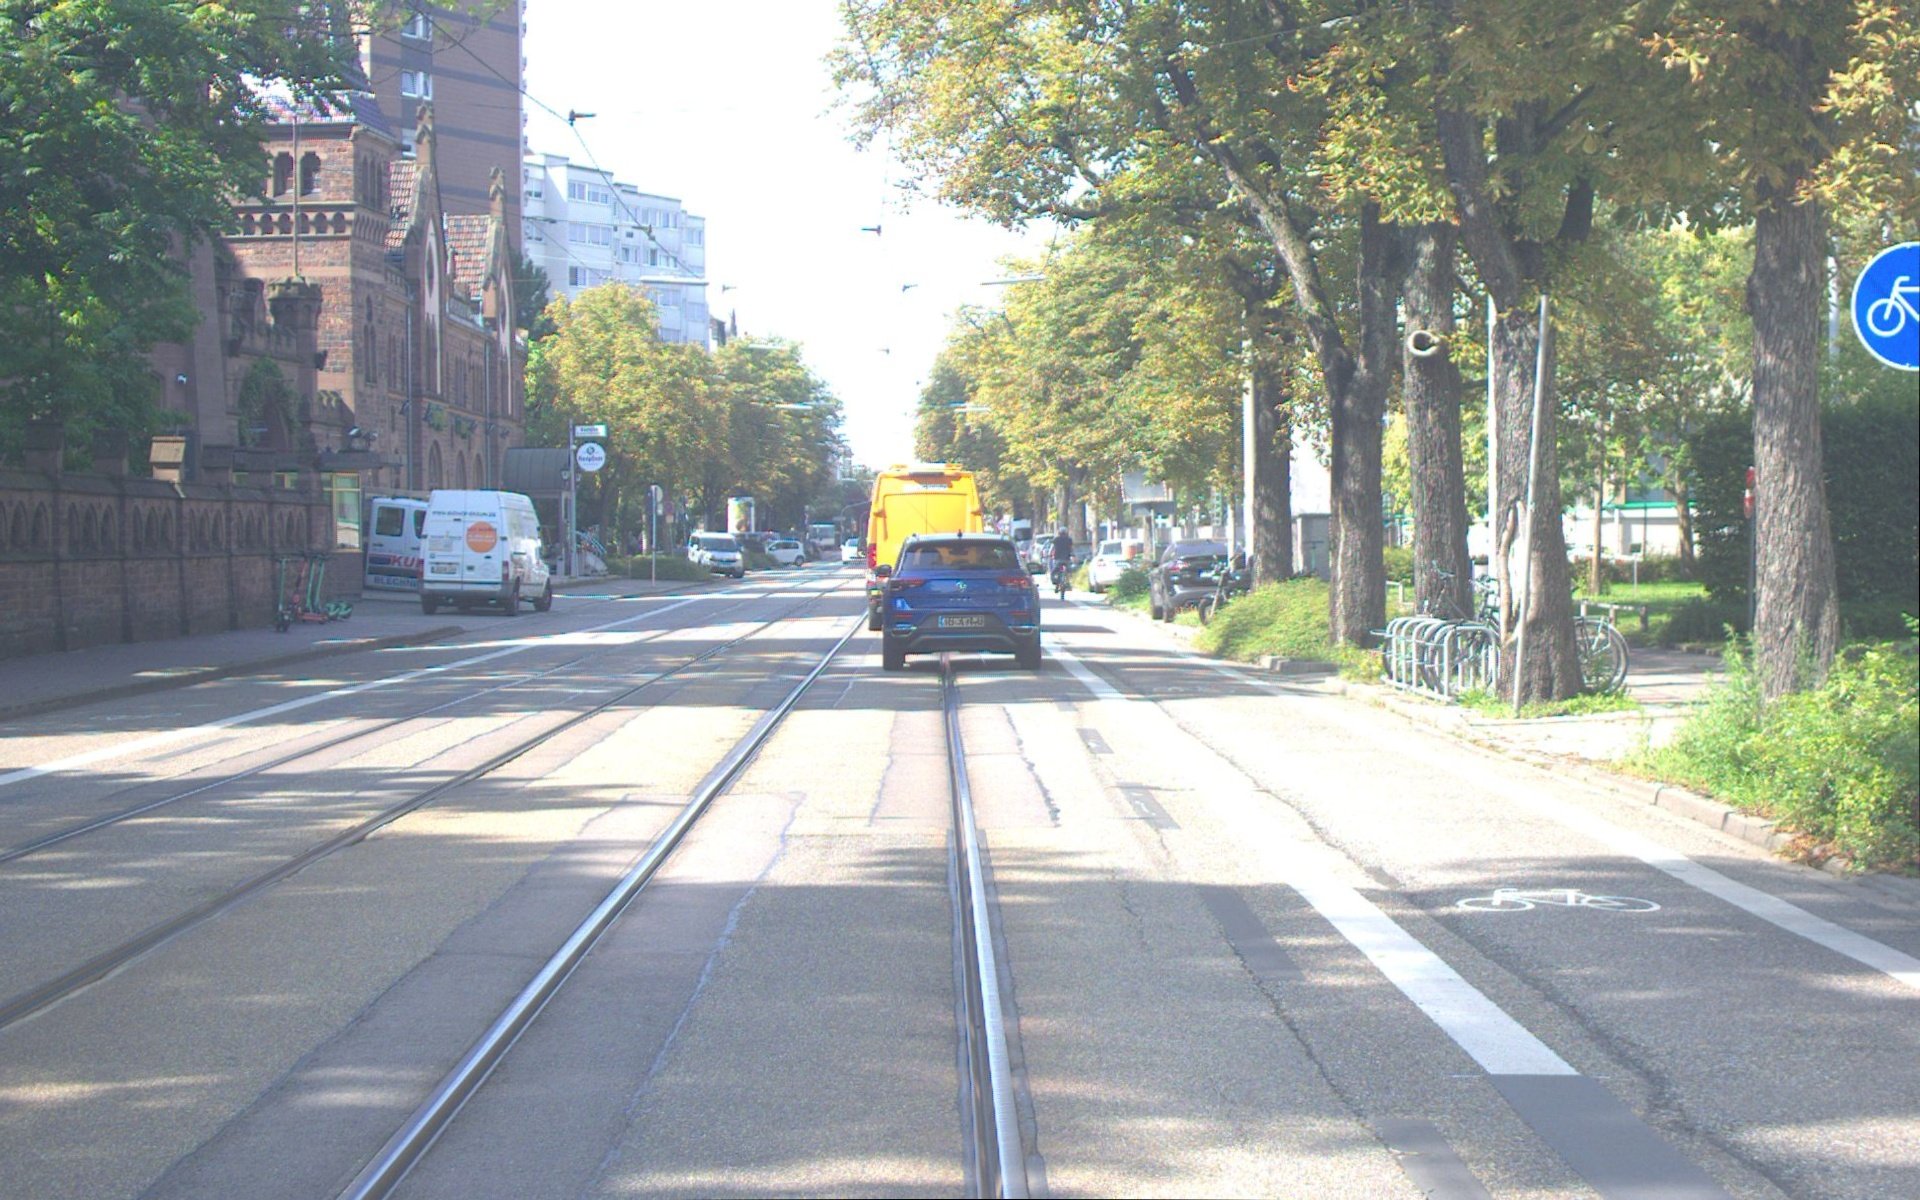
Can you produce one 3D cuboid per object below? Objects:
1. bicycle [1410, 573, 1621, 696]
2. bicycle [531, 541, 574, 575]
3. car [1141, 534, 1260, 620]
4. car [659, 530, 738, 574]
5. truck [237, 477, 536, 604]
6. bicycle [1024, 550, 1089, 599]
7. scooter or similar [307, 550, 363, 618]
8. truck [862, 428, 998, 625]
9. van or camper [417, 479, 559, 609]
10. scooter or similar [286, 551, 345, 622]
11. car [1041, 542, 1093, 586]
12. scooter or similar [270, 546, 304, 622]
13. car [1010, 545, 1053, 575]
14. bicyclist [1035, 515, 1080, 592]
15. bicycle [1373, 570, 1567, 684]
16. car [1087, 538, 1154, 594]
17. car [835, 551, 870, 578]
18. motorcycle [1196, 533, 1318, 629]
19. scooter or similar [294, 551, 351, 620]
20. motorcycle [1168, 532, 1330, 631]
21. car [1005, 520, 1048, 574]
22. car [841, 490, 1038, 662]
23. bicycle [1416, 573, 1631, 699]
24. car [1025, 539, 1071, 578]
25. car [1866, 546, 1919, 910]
[{"bbox_3d":[4.949,0.301,30.688,1.771,1.046,0.541,-1,1,-1],"label":"bicycle"},{"bbox_3d":[-14.390,-1.487,121.418,1.451,1.089,0.399,3,0,-4],"label":"bicycle"},{"bbox_3d":[4.460,-0.444,64.301,1.756,1.510,4.610,-1,1,-2],"label":"car"},{"bbox_3d":[-10.806,-1.977,141.990,1.747,1.790,4.000,0,1,-29],"label":"car"},{"bbox_3d":[-13.056,-1.380,78.452,6.321,2.529,2.130,3,2,5],"label":"truck"},{"bbox_3d":[2.279,-0.612,81.795,1.401,1.130,4.000,0,1,0],"label":"bicycle"},{"bbox_3d":[-10.912,-0.278,60.055,0.340,1.174,1.176,1,1,25],"label":"scooter or similar"},{"bbox_3d":[-0.487,-1.217,57.893,2.135,3.113,6.085,-1,1,0],"label":"truck"},{"bbox_3d":[-10.042,-1.197,73.602,2.113,2.666,5.955,0,1,1],"label":"van or camper"},{"bbox_3d":[-10.823,-0.239,57.748,0.340,1.174,1.176,1,1,25],"label":"scooter or similar"},{"bbox_3d":[3.884,-1.303,125.114,1.743,1.550,4.217,-1,1,0],"label":"car"},{"bbox_3d":[-10.462,-0.254,53.445,0.420,1.174,1.317,0,1,-16],"label":"scooter or similar"},{"bbox_3d":[3.509,-1.984,168.826,1.908,1.427,4.293,0,1,-1],"label":"car"},{"bbox_3d":[2.315,-1.102,81.768,1.031,1.806,1.016,0,1,0],"label":"bicyclist"},{"bbox_3d":[4.913,0.259,33.167,1.771,1.046,0.541,-1,1,-1],"label":"bicycle"},{"bbox_3d":[4.421,-0.951,95.181,1.659,1.476,4.217,-1,1,0],"label":"car"},{"bbox_3d":[-6.339,-2.083,202.284,1.847,1.486,4.867,-2,1,0],"label":"car"},{"bbox_3d":[4.759,-0.326,55.336,0.850,1.510,2.456,0,1,-25],"label":"motorcycle"},{"bbox_3d":[-10.920,-0.259,58.920,0.340,1.174,1.176,1,1,25],"label":"scooter or similar"},{"bbox_3d":[4.503,-0.298,53.636,2.452,1.510,0.851,1,1,38],"label":"motorcycle"},{"bbox_3d":[3.433,-2.758,179.410,1.993,2.746,5.762,0,1,-1],"label":"car"},{"bbox_3d":[-0.238,-0.306,40.505,2.135,1.852,5.568,-1,1,0],"label":"car"},{"bbox_3d":[4.910,0.312,30.010,1.771,1.046,0.541,-1,1,-1],"label":"bicycle"},{"bbox_3d":[3.774,-1.814,148.304,1.740,1.662,4.362,0,1,-1],"label":"car"},{"bbox_3d":[4.740,0.533,12.439,1.755,1.457,4.275,-1,1,0],"label":"car"}]
